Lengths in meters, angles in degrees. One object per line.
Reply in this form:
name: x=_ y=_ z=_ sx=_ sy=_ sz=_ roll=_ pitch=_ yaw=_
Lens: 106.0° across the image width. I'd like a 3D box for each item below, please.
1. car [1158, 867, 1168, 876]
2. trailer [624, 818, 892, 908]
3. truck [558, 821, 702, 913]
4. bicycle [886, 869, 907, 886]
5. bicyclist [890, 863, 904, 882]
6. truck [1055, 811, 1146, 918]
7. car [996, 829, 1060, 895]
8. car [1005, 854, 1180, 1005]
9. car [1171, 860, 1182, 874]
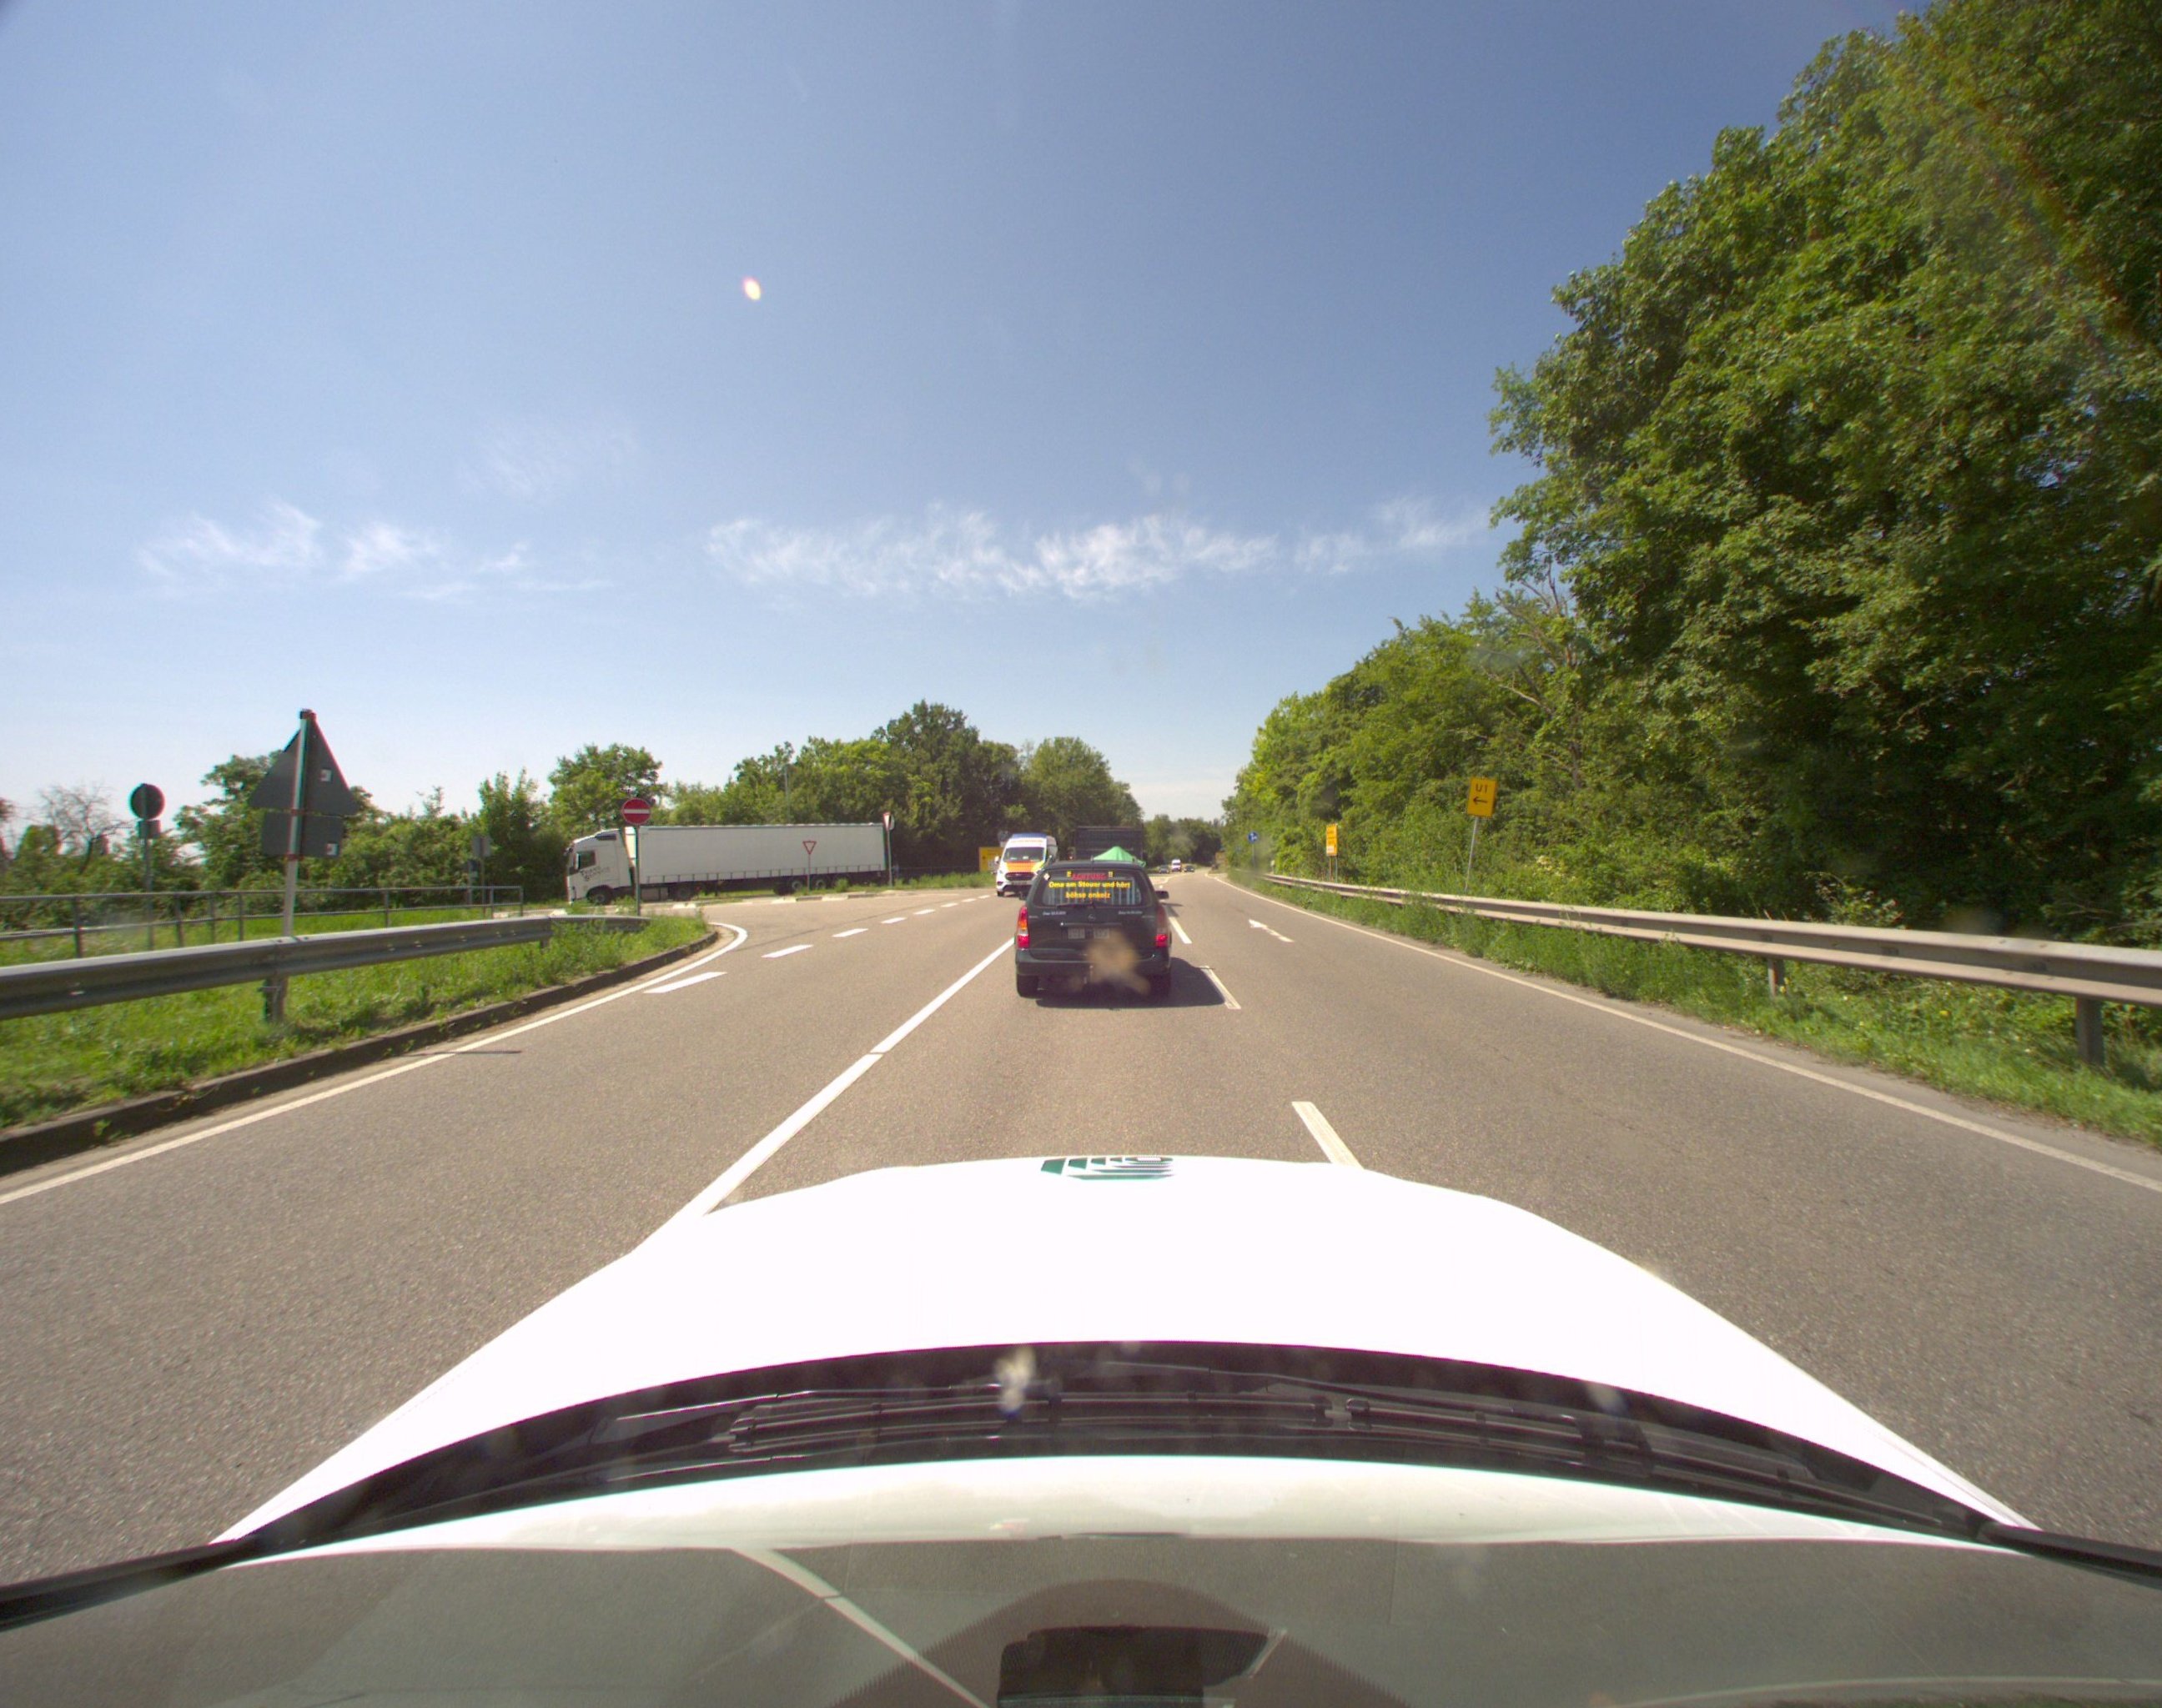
car: x=14.068 y=2.960 z=139.778 sx=1.636 sy=1.419 sz=3.771 roll=0 pitch=-1 yaw=5
trailer: x=-17.622 y=0.256 z=46.000 sx=13.871 sy=4.275 sz=2.962 roll=-3 pitch=2 yaw=-44
truck: x=-22.808 y=0.535 z=41.308 sx=5.954 sy=4.275 sz=2.966 roll=-3 pitch=2 yaw=-36
bicycle: x=-13.031 y=1.659 z=57.607 sx=0.431 sy=1.113 sz=1.491 roll=-2 pitch=-1 yaw=36
bicyclist: x=-13.030 y=1.292 z=57.616 sx=0.681 sy=1.363 sz=0.613 roll=-1 pitch=0 yaw=37
truck: x=0.736 y=0.264 z=23.080 sx=2.129 sy=2.565 sz=6.648 roll=-1 pitch=0 yaw=5
car: x=-1.975 y=0.291 z=31.995 sx=1.982 sy=2.368 sz=5.184 roll=0 pitch=0 yaw=2
car: x=0.214 y=0.742 z=9.881 sx=1.713 sy=1.457 sz=3.800 roll=0 pitch=0 yaw=3
car: x=20.297 y=2.774 z=173.228 sx=2.094 sy=2.850 sz=6.022 roll=0 pitch=-1 yaw=6
